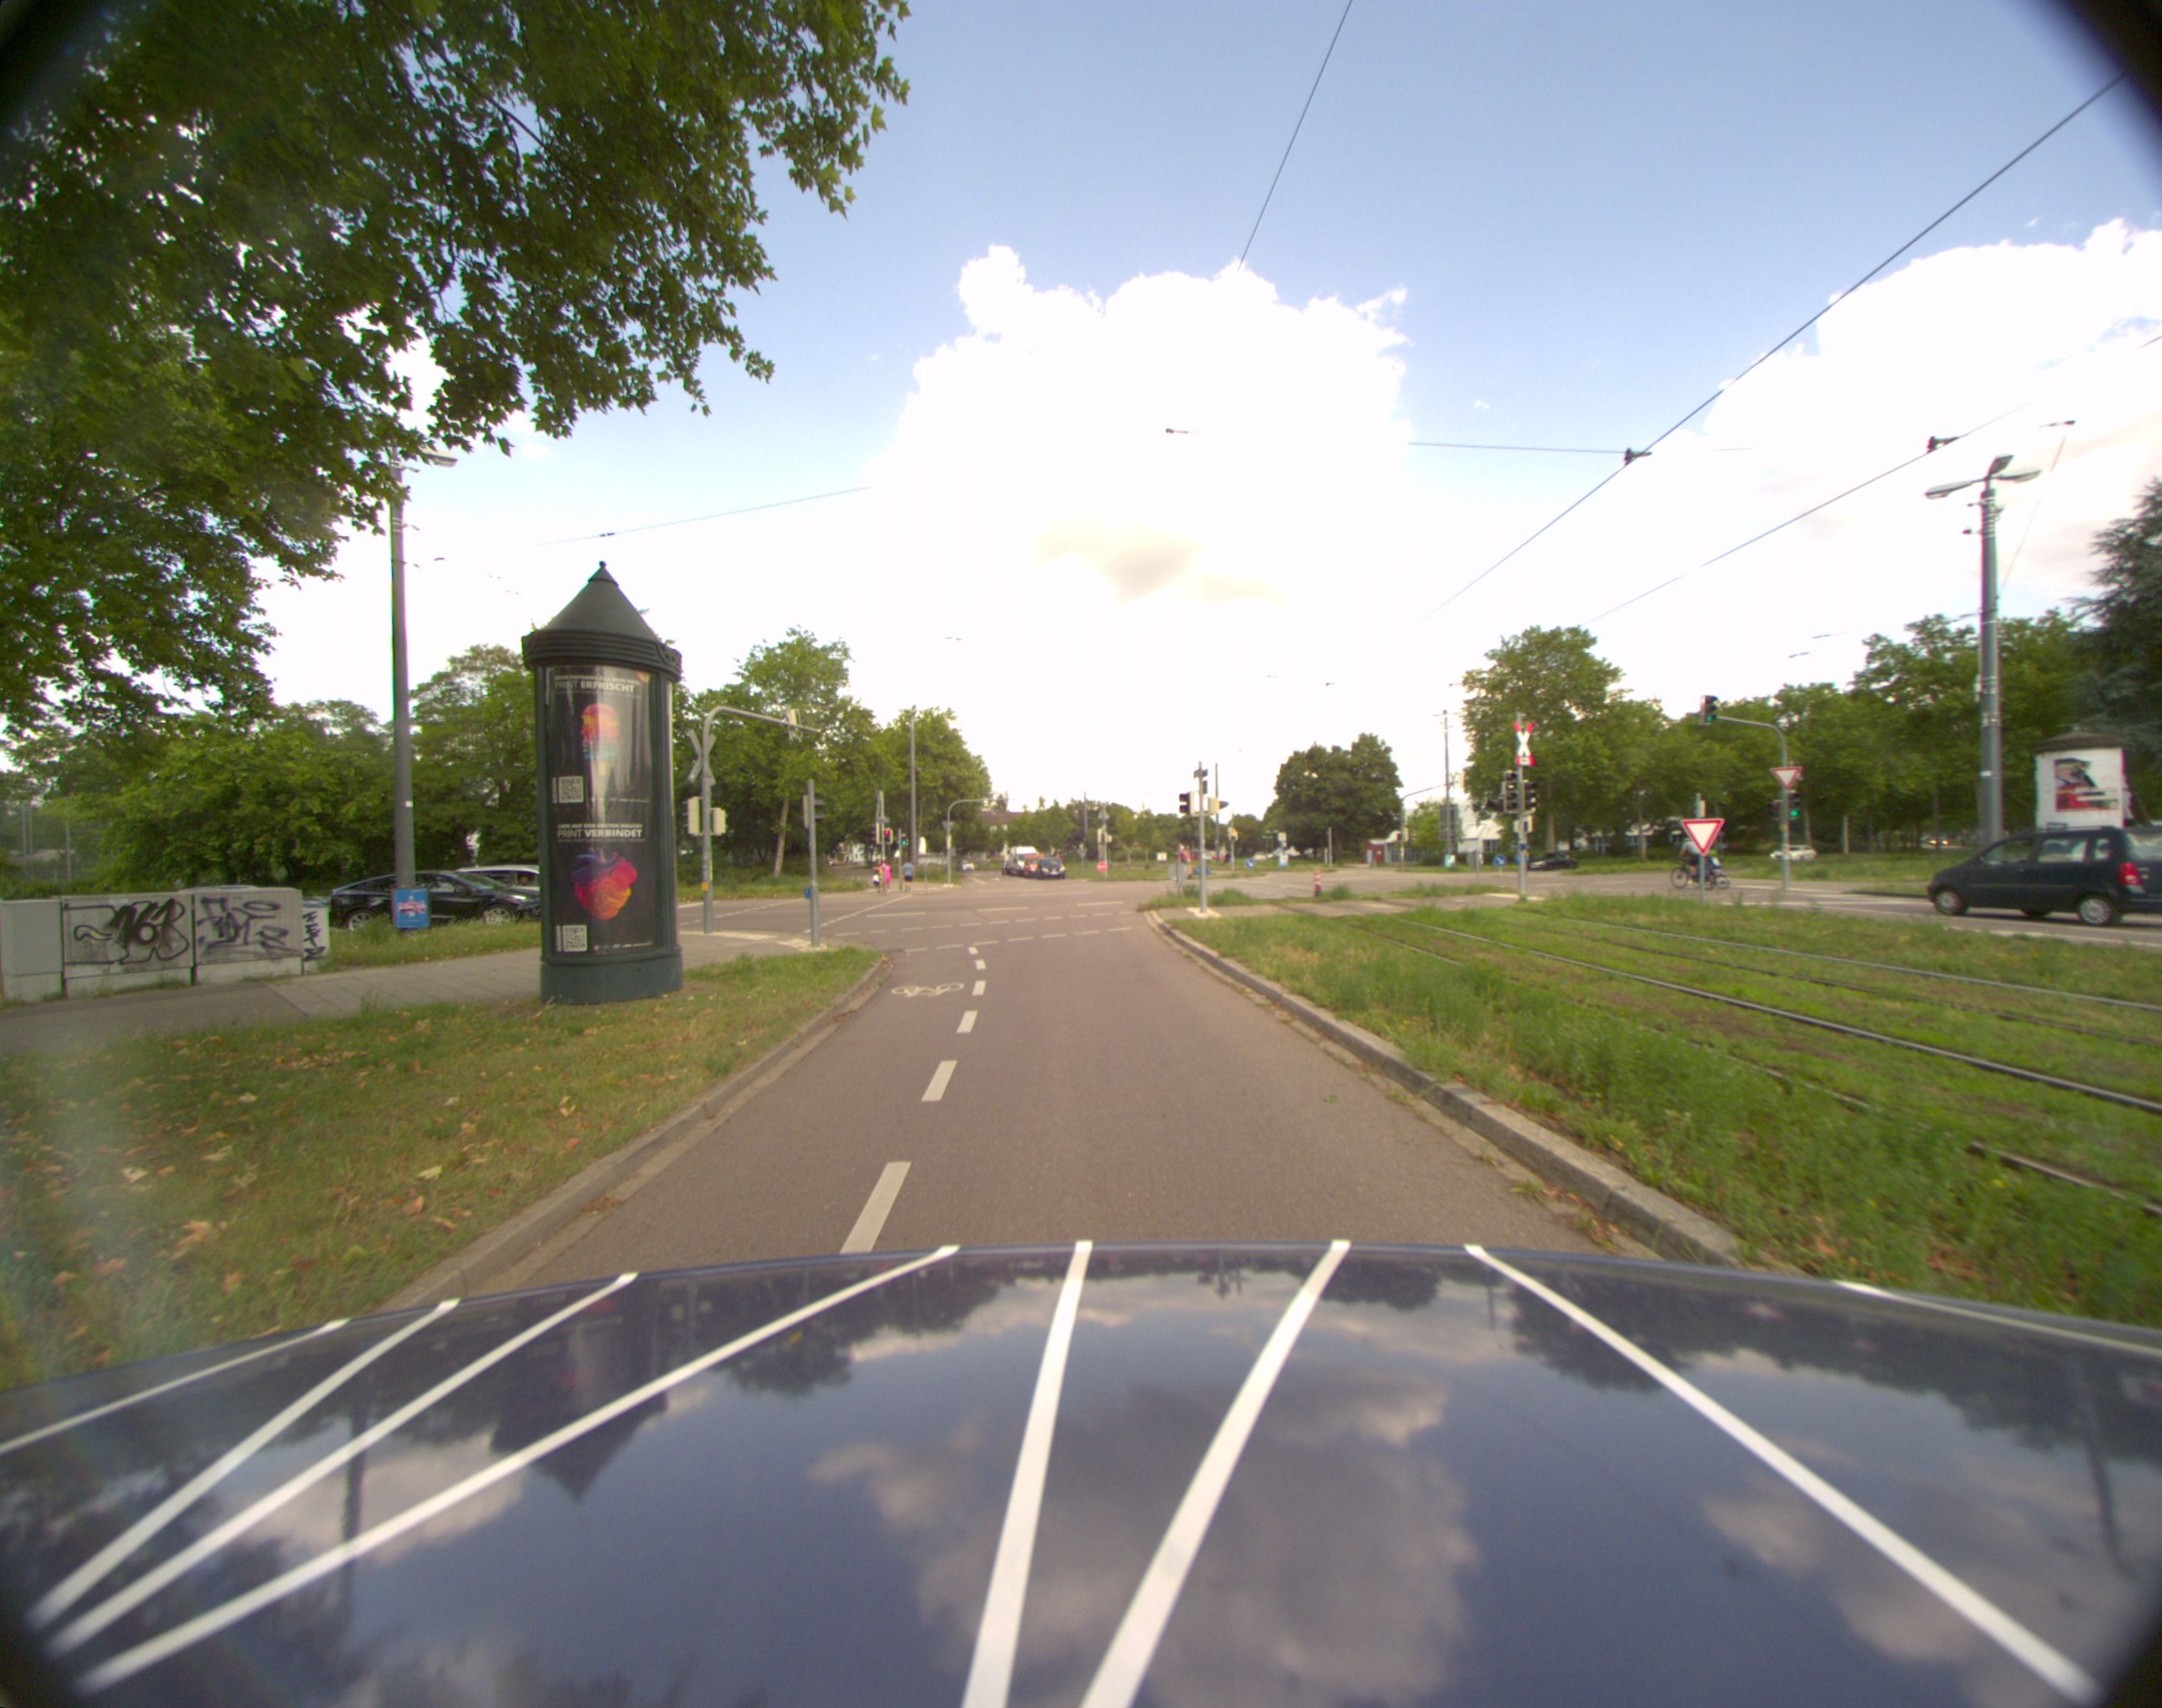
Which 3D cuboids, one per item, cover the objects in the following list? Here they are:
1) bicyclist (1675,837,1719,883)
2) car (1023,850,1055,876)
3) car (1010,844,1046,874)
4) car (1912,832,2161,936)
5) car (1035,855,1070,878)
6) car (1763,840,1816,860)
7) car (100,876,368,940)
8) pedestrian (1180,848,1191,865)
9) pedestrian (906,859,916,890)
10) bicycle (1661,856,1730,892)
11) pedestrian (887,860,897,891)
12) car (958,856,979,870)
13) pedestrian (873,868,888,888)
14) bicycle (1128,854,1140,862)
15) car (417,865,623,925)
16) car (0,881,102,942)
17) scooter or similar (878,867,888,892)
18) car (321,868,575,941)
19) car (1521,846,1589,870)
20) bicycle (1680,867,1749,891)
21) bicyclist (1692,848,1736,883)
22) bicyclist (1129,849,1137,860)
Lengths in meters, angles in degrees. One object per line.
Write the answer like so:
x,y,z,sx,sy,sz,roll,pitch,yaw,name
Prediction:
19.880,0.198,24.549,0.625,1.449,0.928,-1,1,-7,bicyclist
-3.415,0.725,60.633,1.797,1.924,4.364,-2,0,-12,car
-4.736,0.418,67.035,2.241,2.492,5.719,-2,0,-13,car
17.497,0.437,13.535,1.782,1.617,3.497,-1,1,7,car
-2.090,0.875,54.686,1.797,1.530,3.996,-2,0,-11,car
55.893,-0.306,59.946,3.915,1.515,1.696,-1,1,-24,car
-23.903,1.482,21.682,4.751,1.461,1.997,-1,1,-14,car
11.785,0.270,85.527,0.909,1.857,1.001,-1,1,-15,pedestrian
-8.190,0.972,36.654,0.419,1.499,0.450,-1,1,-14,pedestrian
19.880,0.627,24.639,0.647,1.073,1.804,-1,1,-6,bicycle
-9.131,1.031,36.717,0.419,1.499,0.392,-1,1,-14,pedestrian
-14.257,1.164,96.219,1.870,1.635,4.227,-2,0,-19,car
-10.970,1.320,41.642,0.723,1.028,0.900,-1,1,-13,pedestrian
7.133,0.549,102.446,0.805,1.053,2.066,-2,-1,-19,bicycle
-17.250,1.214,23.642,4.689,1.601,1.997,-1,1,-14,car
-30.440,1.591,20.476,4.689,1.505,1.997,-1,1,-14,car
-9.426,1.221,36.211,0.395,1.154,1.115,-1,1,-17,scooter or similar
-16.399,1.267,19.991,4.688,1.601,1.997,-1,1,-13,car
32.024,0.274,51.365,3.858,1.515,1.697,-1,1,-14,car
20.571,0.800,24.723,0.647,0.713,1.804,-1,0,-6,bicycle
20.560,0.362,24.701,0.641,1.106,0.928,-1,1,-6,bicyclist
7.054,0.097,102.640,0.805,1.461,0.831,-2,-1,-19,bicyclist
